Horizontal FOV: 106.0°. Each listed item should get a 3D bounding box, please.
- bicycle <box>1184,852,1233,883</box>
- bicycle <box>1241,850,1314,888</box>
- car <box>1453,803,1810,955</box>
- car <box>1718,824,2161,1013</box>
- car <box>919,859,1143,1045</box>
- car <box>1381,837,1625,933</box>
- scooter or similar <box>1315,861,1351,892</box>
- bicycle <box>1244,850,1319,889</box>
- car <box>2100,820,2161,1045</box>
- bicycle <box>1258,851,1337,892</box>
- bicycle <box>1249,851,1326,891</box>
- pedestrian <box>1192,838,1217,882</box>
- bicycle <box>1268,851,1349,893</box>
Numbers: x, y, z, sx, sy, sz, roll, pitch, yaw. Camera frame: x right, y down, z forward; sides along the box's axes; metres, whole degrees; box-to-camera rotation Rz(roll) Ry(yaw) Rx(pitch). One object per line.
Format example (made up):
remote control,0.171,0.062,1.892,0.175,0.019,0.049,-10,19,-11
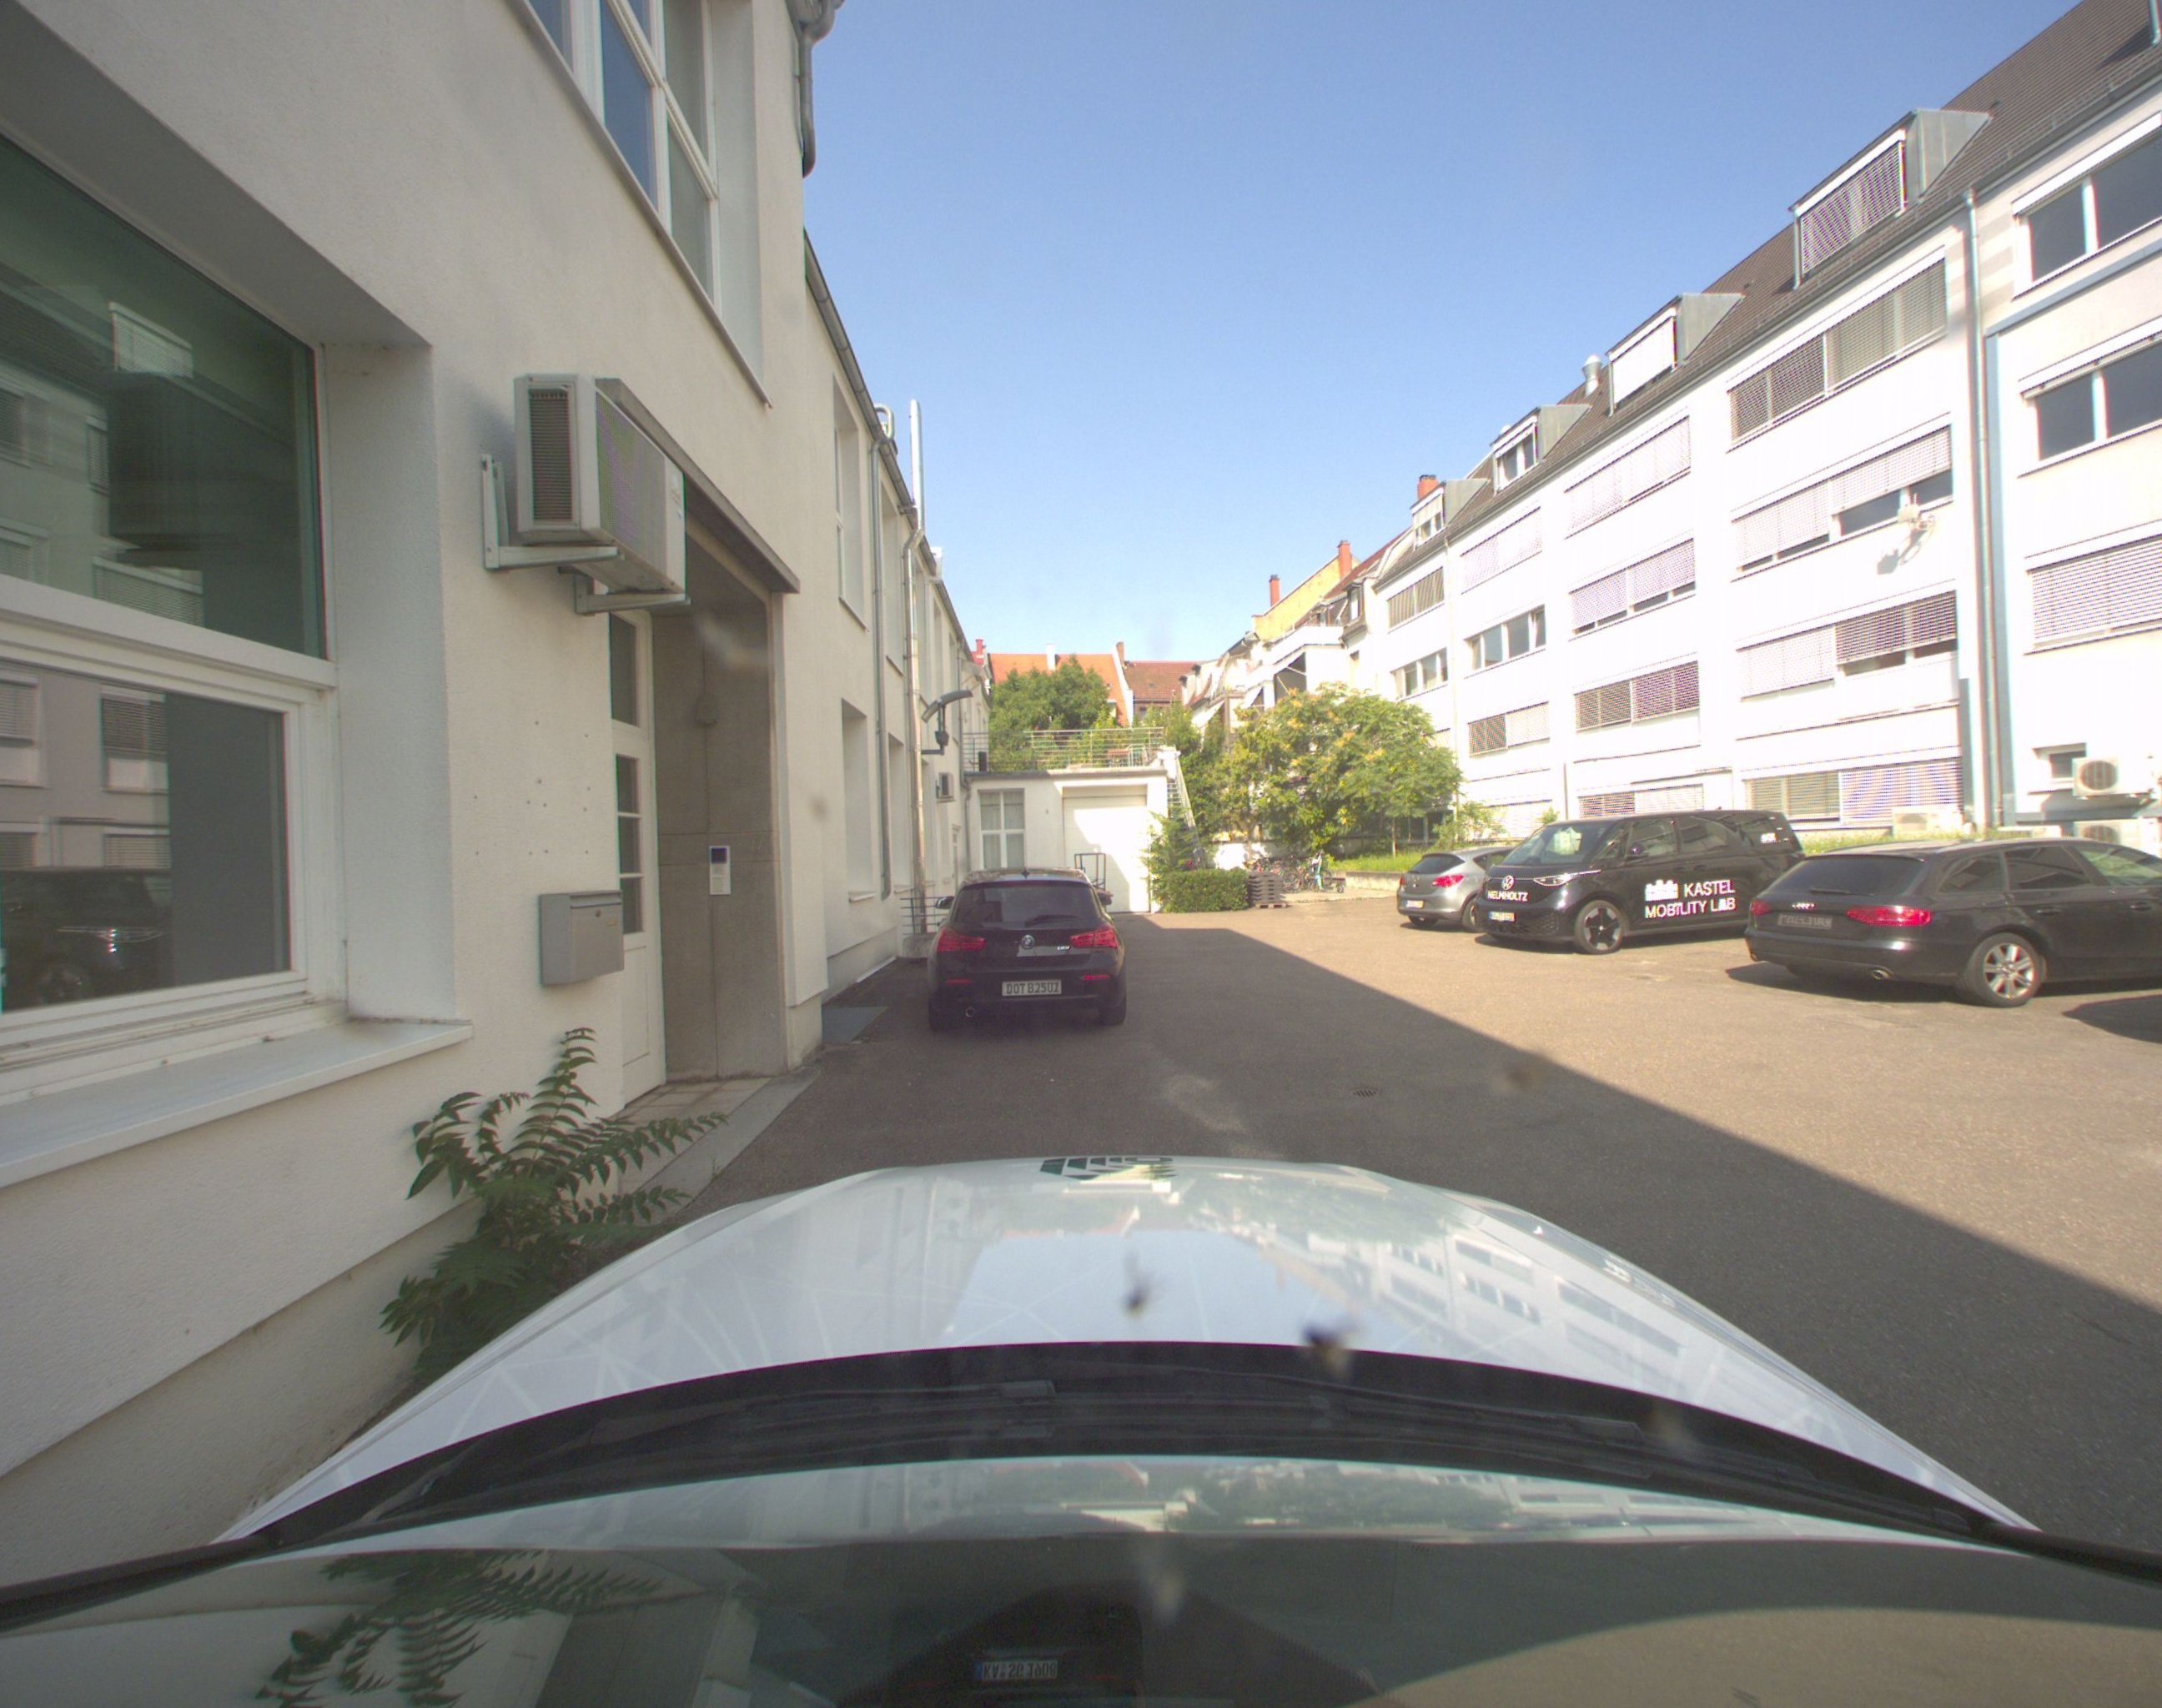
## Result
bicycle,5.180,0.548,33.018,1.996,1.143,0.486,-3,1,-23
bicycle,6.840,0.529,28.402,2.405,1.246,0.526,-1,0,-3
car,8.088,0.300,12.115,4.338,1.859,1.907,-3,0,-12
car,8.823,0.508,7.809,4.225,1.437,1.688,-3,0,-4
car,-0.567,0.804,8.706,1.790,1.428,4.129,-1,0,-5
car,7.751,0.519,15.020,3.904,1.466,1.654,-3,0,-16
scooter or similar,7.818,0.686,25.277,0.362,0.924,0.988,-1,0,-40
bicycle,6.821,0.525,27.749,2.405,1.246,0.526,-1,0,-3
car,9.193,0.437,5.046,4.043,1.478,1.738,-3,0,-7
bicycle,6.984,0.543,26.280,2.405,1.246,0.526,-1,0,-3
bicycle,6.858,0.548,27.102,2.405,1.246,0.526,-1,0,-3
pedestrian,5.042,0.247,33.229,0.612,1.771,0.854,-1,0,-24
bicycle,7.159,0.554,25.660,2.405,1.246,0.526,-1,0,-3
